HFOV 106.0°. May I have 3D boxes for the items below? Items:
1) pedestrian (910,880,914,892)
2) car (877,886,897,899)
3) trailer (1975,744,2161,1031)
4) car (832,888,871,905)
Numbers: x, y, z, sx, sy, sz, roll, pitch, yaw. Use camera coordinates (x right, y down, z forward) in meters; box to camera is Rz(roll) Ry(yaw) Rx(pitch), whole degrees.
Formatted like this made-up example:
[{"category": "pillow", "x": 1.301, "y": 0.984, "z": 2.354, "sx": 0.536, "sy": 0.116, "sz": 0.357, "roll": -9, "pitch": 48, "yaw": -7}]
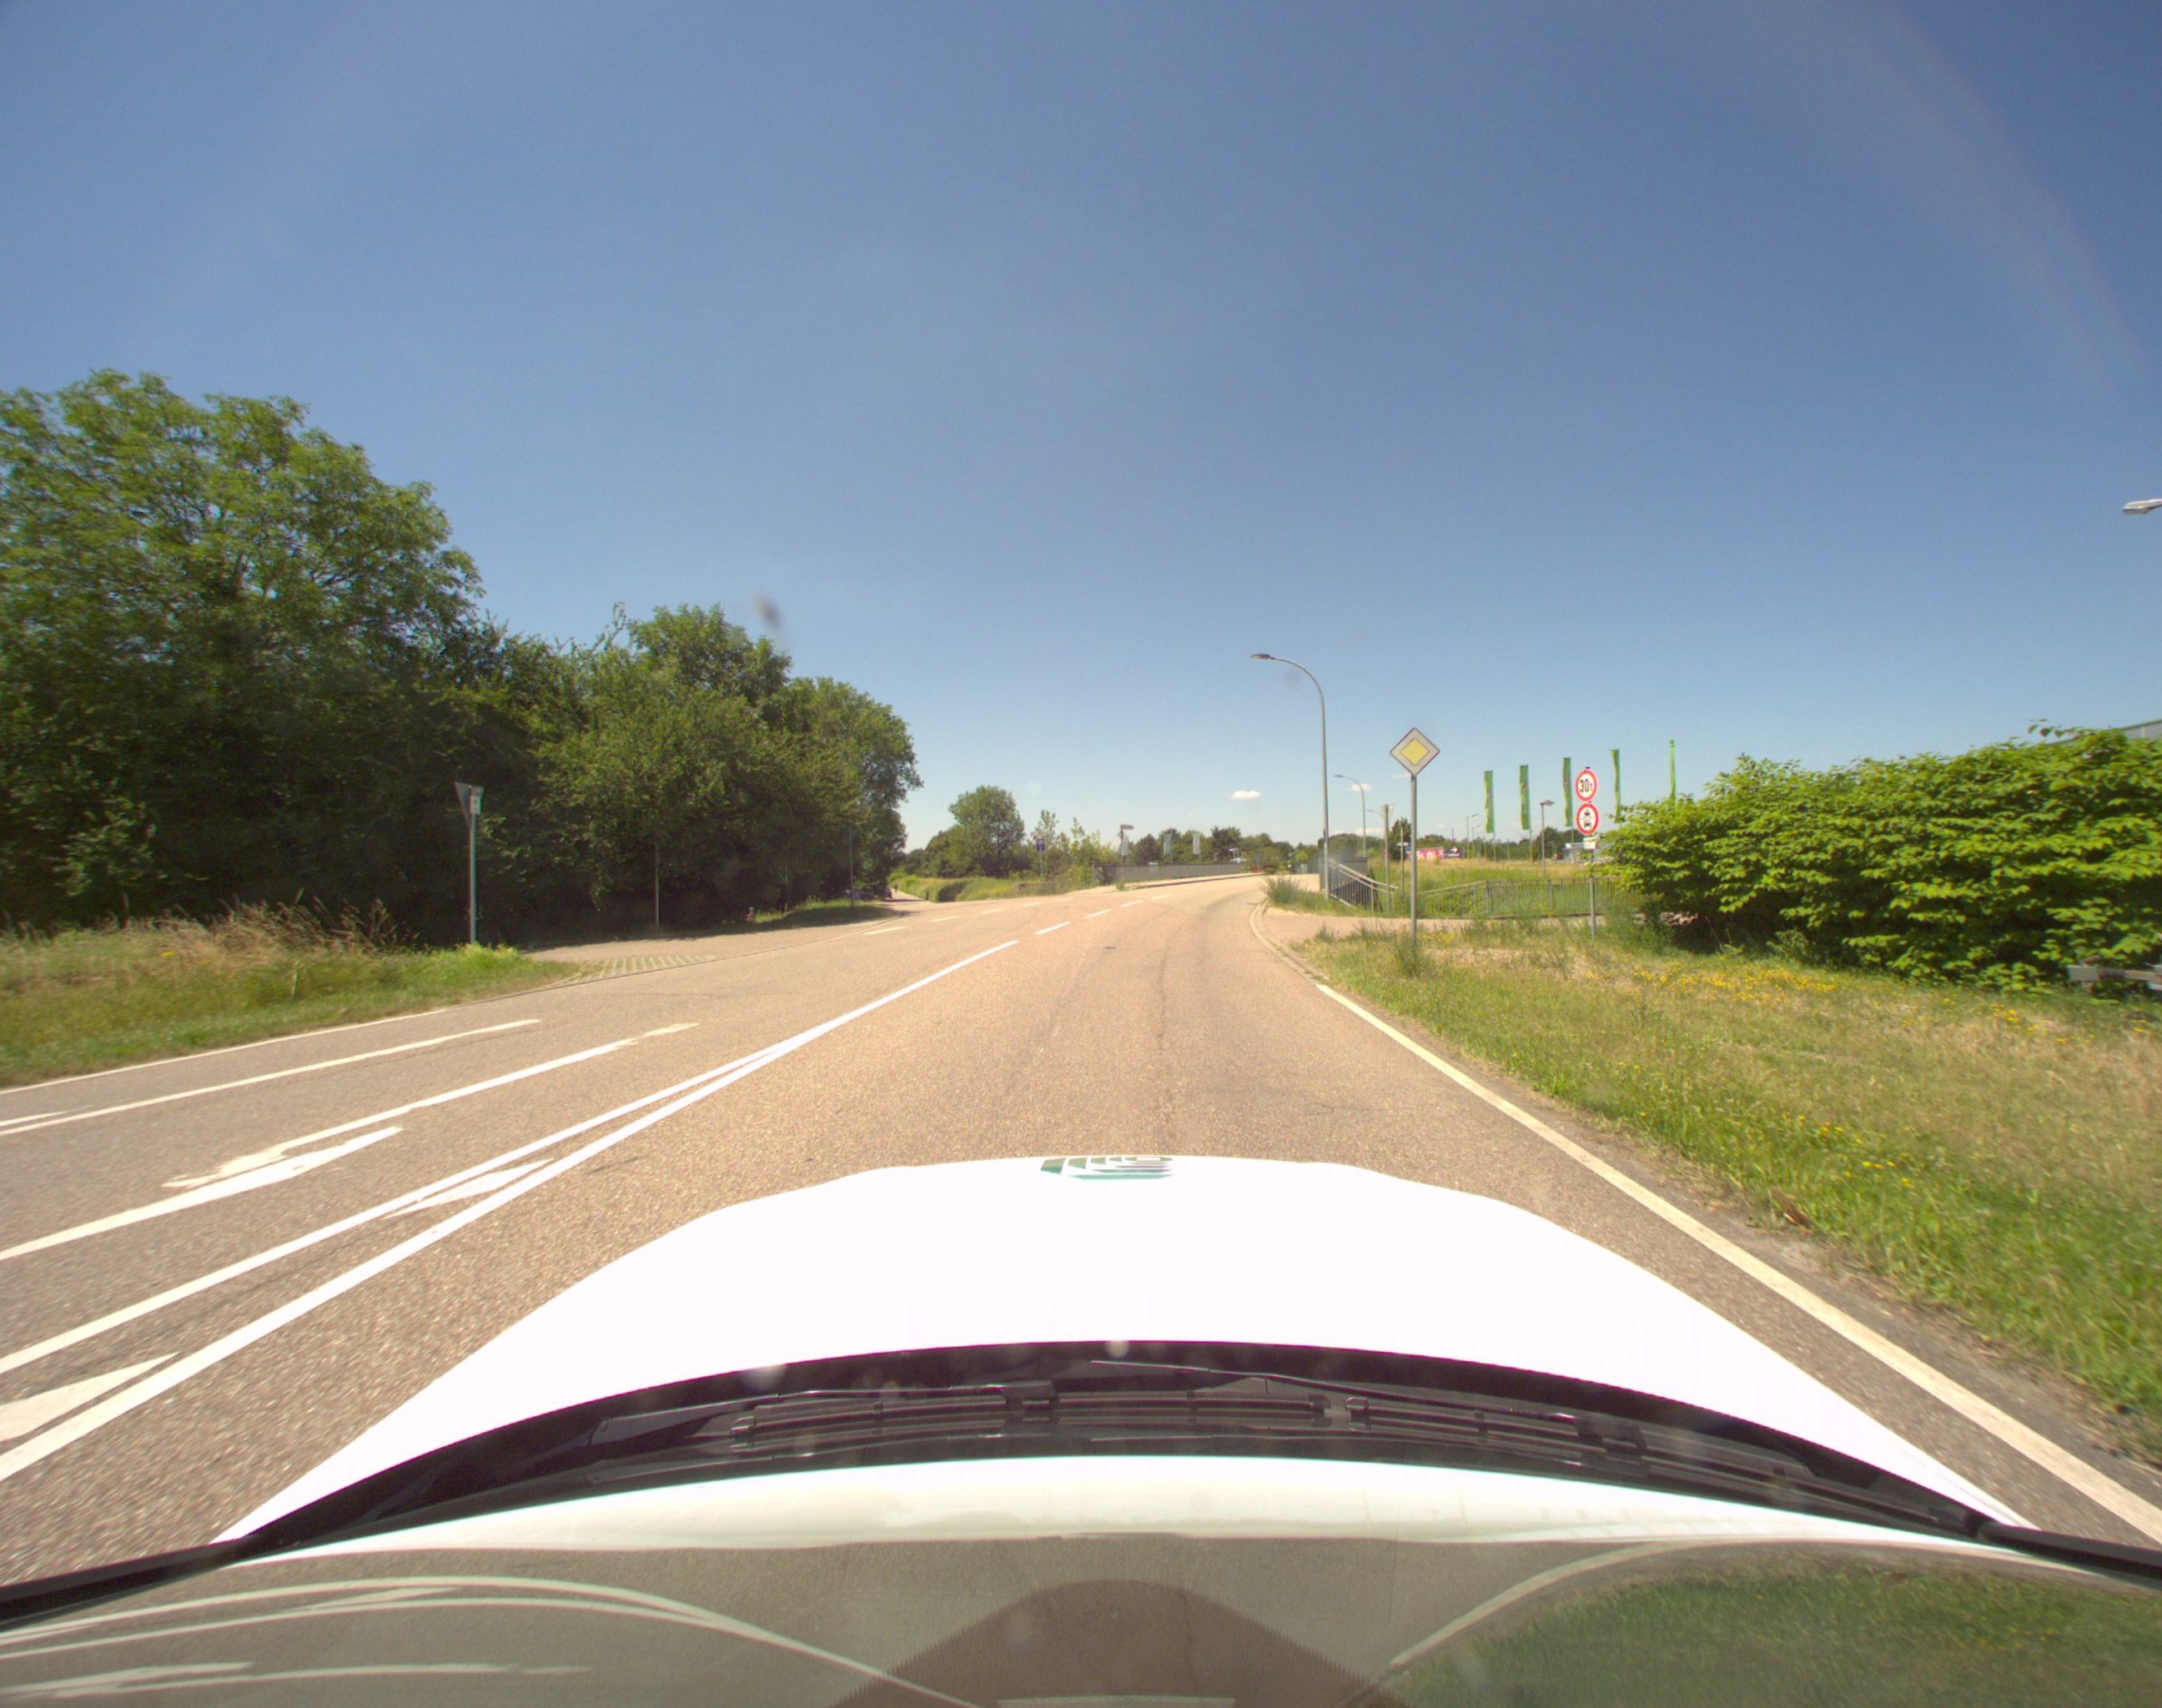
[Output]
[{"category": "pedestrian", "x": -28.437, "y": 5.342, "z": 136.959, "sx": 0.614, "sy": 2.014, "sz": 0.621, "roll": -2, "pitch": -1, "yaw": -20}, {"category": "car", "x": -25.548, "y": 5.073, "z": 106.979, "sx": 2.001, "sy": 1.596, "sz": 3.971, "roll": -2, "pitch": -1, "yaw": -21}, {"category": "trailer", "x": 9.010, "y": 0.212, "z": 5.242, "sx": 1.851, "sy": 2.078, "sz": 3.944, "roll": 0, "pitch": -1, "yaw": -18}, {"category": "car", "x": -24.884, "y": 4.554, "z": 88.262, "sx": 3.999, "sy": 1.571, "sz": 1.987, "roll": -2, "pitch": -1, "yaw": -19}]
